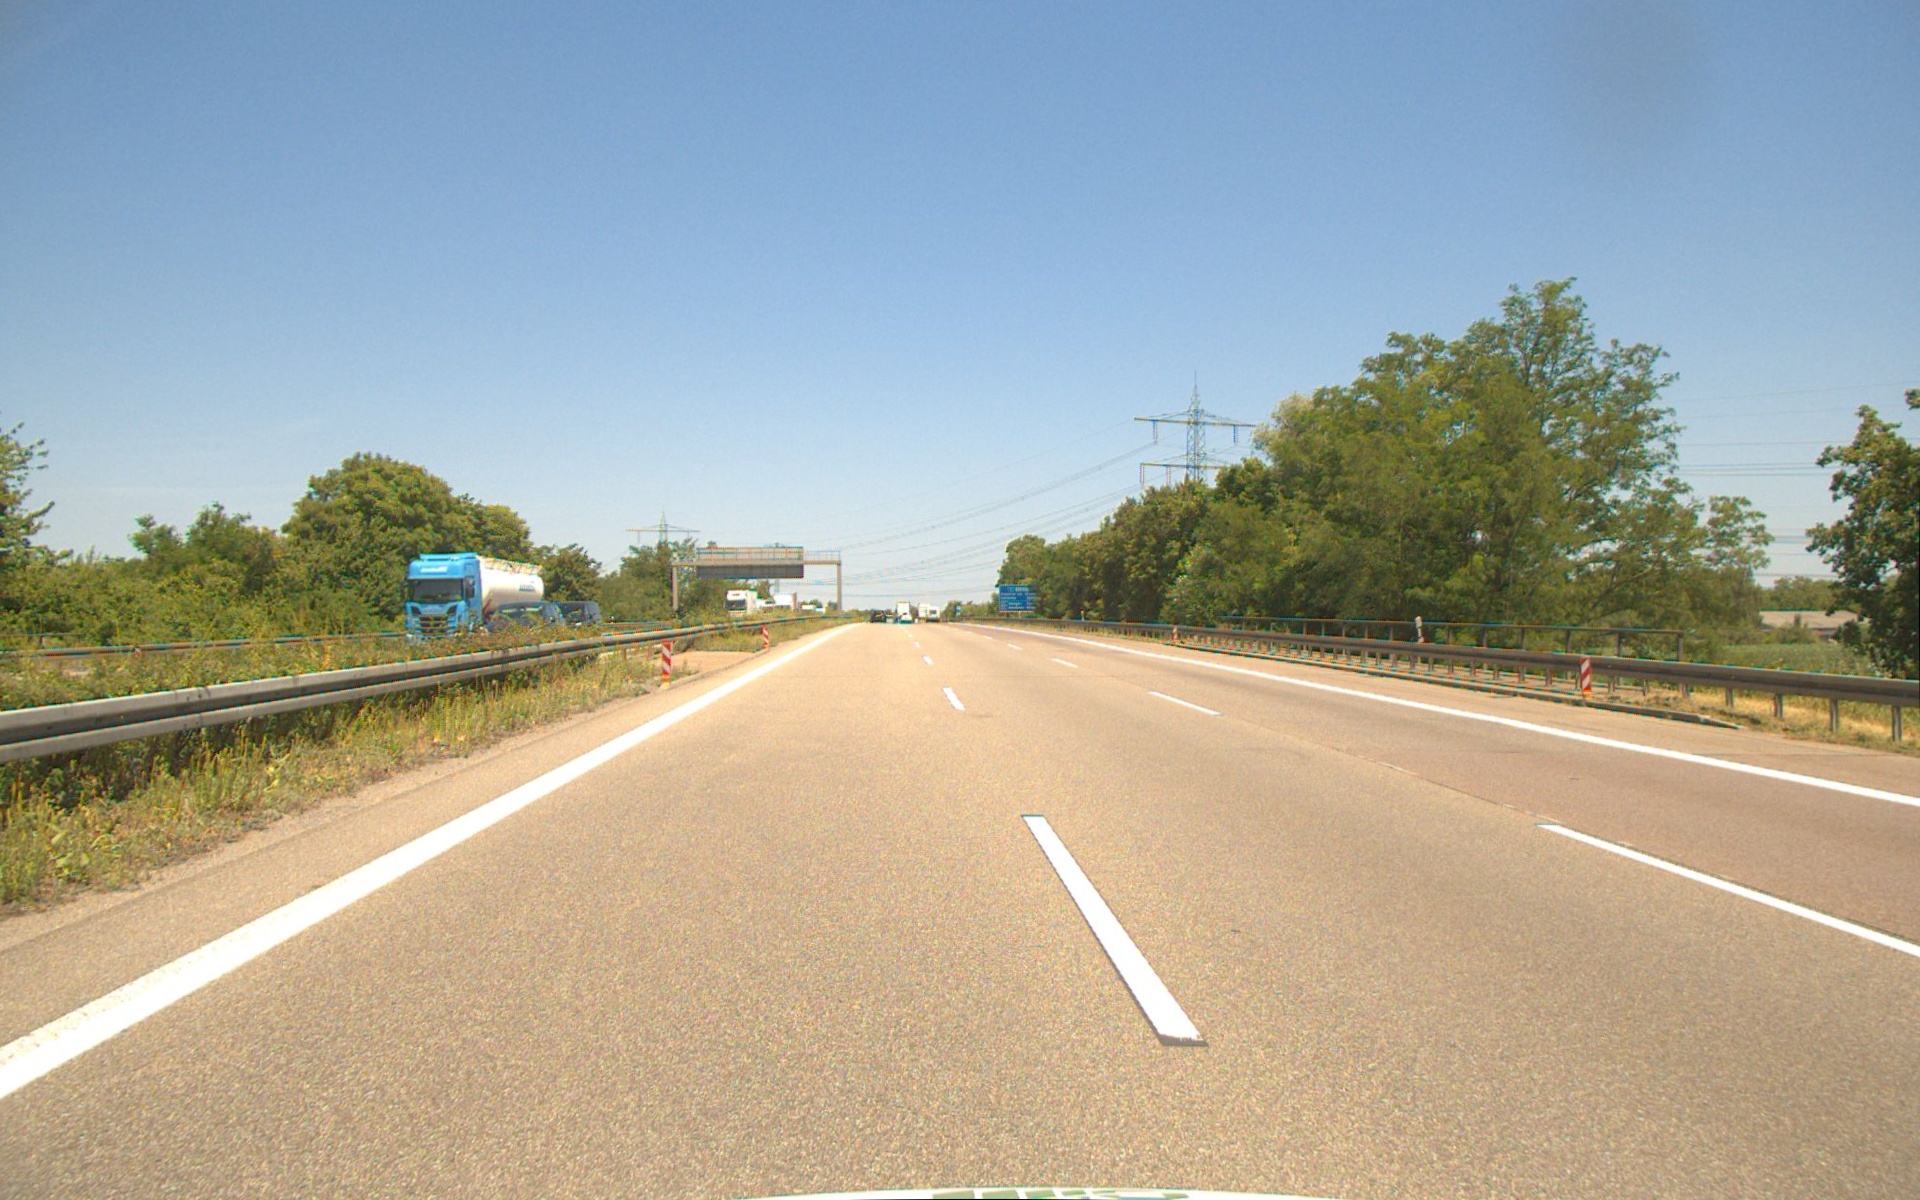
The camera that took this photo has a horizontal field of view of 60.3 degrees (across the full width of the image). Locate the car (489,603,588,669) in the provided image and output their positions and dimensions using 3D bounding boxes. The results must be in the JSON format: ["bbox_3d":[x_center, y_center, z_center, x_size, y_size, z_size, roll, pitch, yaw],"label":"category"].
[{"bbox_3d":[-12.125,1.001,47.833,1.953,1.761,4.091,-1,0,-2],"label":"car"}]

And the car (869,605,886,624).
[{"bbox_3d":[-9.174,1.566,183.437,1.755,2.049,3.886,1,0,-2],"label":"car"}]

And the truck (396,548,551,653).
[{"bbox_3d":[-21.096,0.072,73.042,2.674,4.124,15.928,-1,0,-2],"label":"truck"}]

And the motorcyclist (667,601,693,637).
[{"bbox_3d":[-12.561,0.849,74.317,0.952,1.547,1.333,-2,0,-4],"label":"motorcyclist"}]

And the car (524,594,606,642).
[{"bbox_3d":[-17.037,0.723,71.691,2.364,1.951,5.780,-1,0,-2],"label":"car"}]

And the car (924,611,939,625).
[{"bbox_3d":[-4.143,2.609,238.384,1.954,2.049,3.997,-1,0,-3],"label":"car"}]
